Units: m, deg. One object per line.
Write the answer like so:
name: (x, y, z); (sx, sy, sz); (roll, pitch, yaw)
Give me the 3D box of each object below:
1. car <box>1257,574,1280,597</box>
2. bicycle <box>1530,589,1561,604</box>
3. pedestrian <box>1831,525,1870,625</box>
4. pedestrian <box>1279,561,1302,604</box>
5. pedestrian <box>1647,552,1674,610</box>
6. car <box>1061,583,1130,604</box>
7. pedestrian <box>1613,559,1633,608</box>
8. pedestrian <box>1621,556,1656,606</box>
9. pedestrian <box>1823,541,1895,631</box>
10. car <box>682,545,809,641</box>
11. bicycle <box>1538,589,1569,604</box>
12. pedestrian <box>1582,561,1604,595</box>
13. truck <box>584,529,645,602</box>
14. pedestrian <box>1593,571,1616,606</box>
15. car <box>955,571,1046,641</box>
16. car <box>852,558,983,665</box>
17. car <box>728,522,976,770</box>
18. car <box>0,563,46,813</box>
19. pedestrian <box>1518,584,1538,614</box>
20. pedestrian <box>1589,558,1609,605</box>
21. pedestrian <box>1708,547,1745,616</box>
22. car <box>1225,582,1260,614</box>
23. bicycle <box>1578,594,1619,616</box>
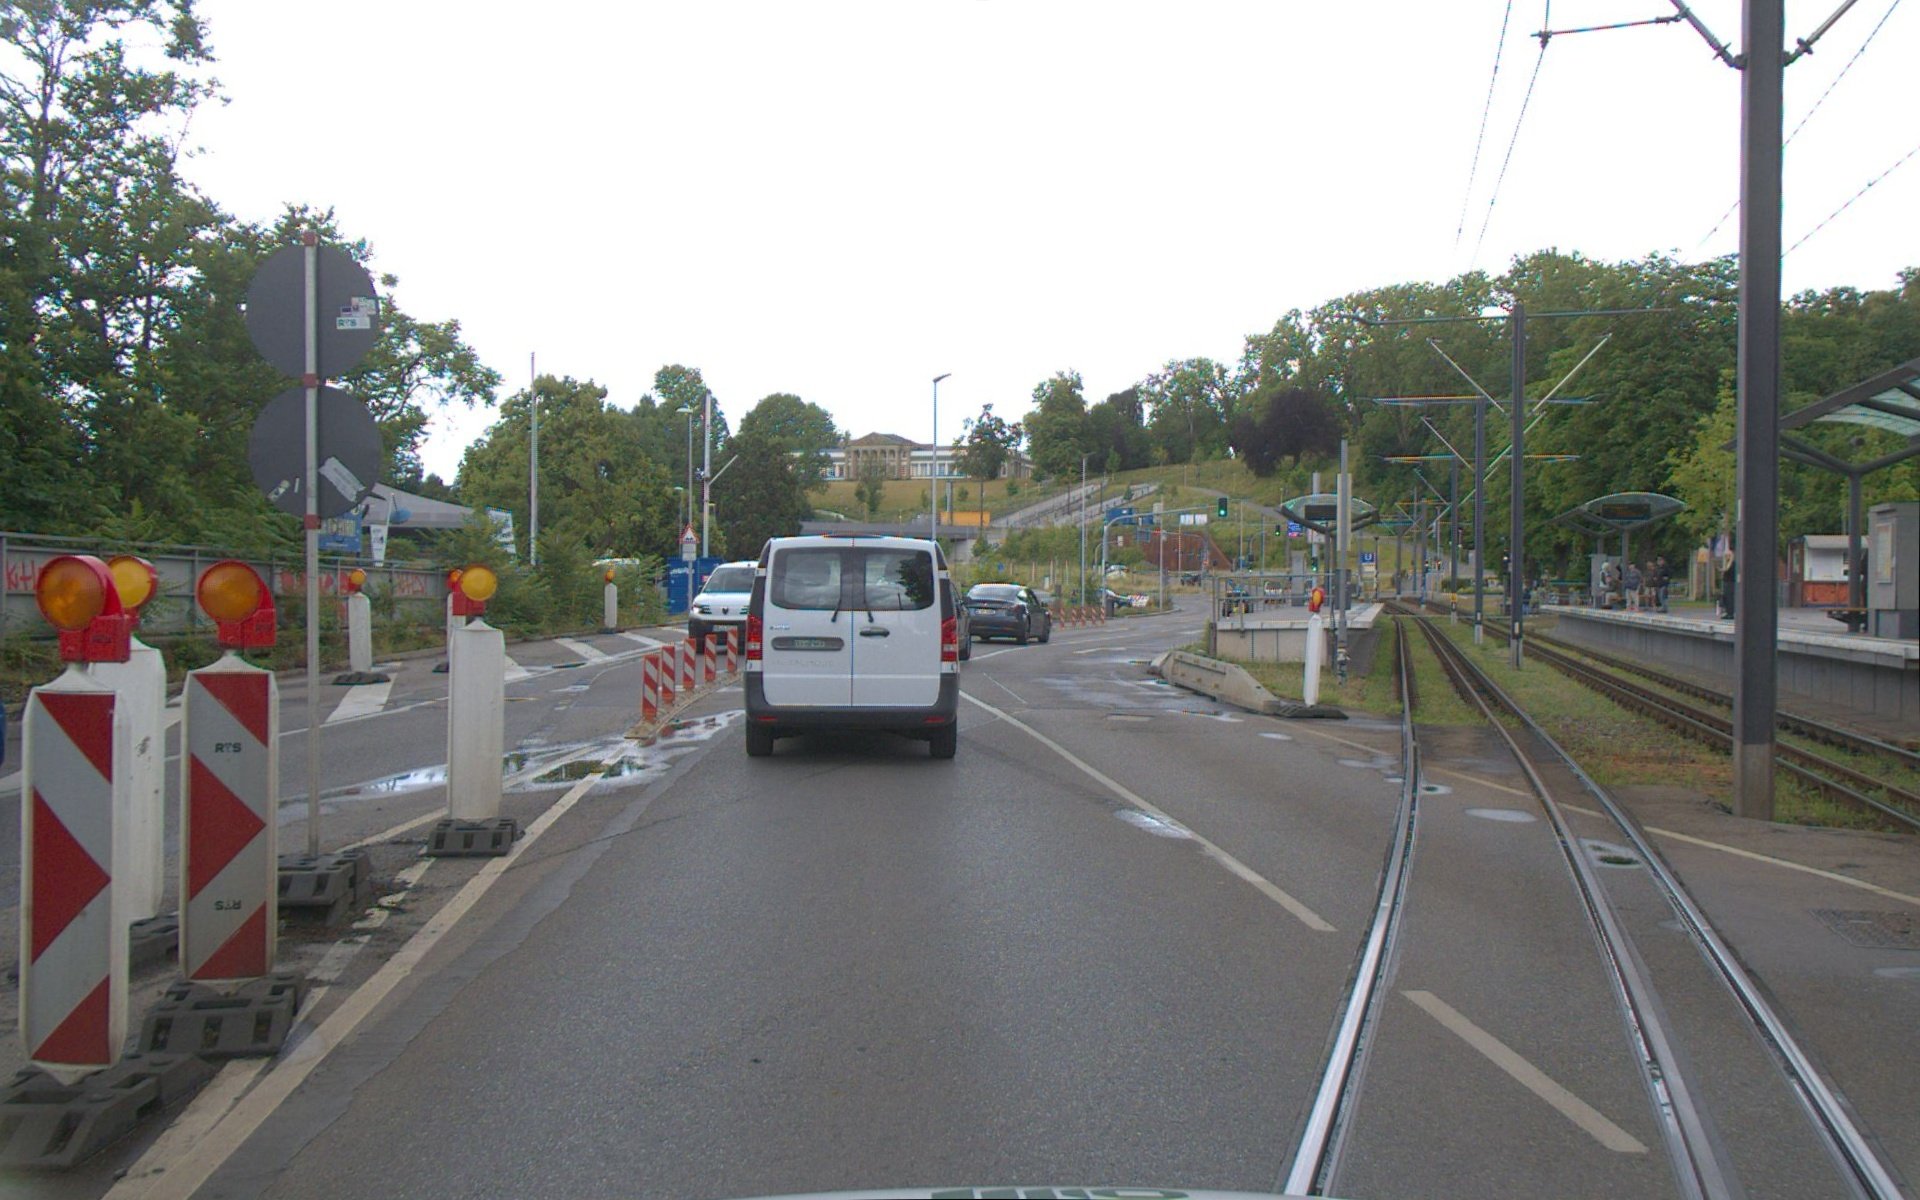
car: (25.503, -1.181, 136.804); (1.715, 1.802, 4.004); (3, 1, 10)
bicycle: (39.225, -0.261, 110.810); (1.871, 0.992, 0.531); (0, 0, 15)
pedestrian: (15.507, -0.432, 28.802); (0.476, 1.689, 0.628); (3, 1, 23)
pedestrian: (12.795, -0.683, 63.942); (0.734, 1.580, 0.775); (3, 3, 16)
pedestrian: (22.770, -0.613, 53.752); (0.619, 1.870, 0.951); (3, 1, 16)
car: (9.829, -0.474, 120.293); (4.616, 1.503, 1.999); (0, 1, 25)
pedestrian: (22.799, -0.577, 56.877); (0.513, 1.648, 0.676); (3, 1, 16)
pedestrian: (23.775, -0.670, 57.961); (0.842, 1.706, 0.762); (3, 1, 5)
pedestrian: (16.077, -0.253, 29.587); (0.744, 1.568, 0.785); (3, 1, -8)
car: (-4.284, -0.202, 33.755); (1.824, 1.813, 4.750); (0, 2, 2)
bicycle: (38.799, -0.228, 108.125); (1.871, 0.911, 0.531); (0, 0, 15)
pedestrian: (25.818, -0.888, 67.486); (0.659, 1.346, 0.969); (3, 1, 14)
truck: (-17.281, -1.739, 82.580); (2.744, 3.394, 8.452); (-1, 1, -12)
pedestrian: (22.793, -0.403, 58.485); (0.643, 1.211, 0.676); (3, 1, 16)
car: (1.076, 0.116, 41.556); (1.799, 1.610, 4.066); (2, 1, 7)
car: (-0.708, 0.174, 30.375); (1.799, 1.759, 4.065); (2, 1, 6)
car: (-0.841, 0.334, 15.480); (1.919, 1.937, 4.462); (1, 1, 1)
car: (-6.762, 0.579, 8.430); (1.658, 1.487, 3.916); (0, 2, 7)
pedestrian: (31.120, -0.064, 90.613); (0.816, 1.637, 0.777); (0, 0, -7)
pedestrian: (23.982, -0.690, 62.058); (0.532, 1.706, 0.676); (3, 1, 12)
pedestrian: (19.642, -0.469, 42.397); (0.619, 1.716, 0.867); (3, 1, 15)
car: (16.987, -0.149, 99.442); (1.951, 1.802, 4.004); (3, 1, 10)
bicycle: (32.260, 0.253, 83.584); (1.834, 0.980, 0.533); (3, 1, 16)
